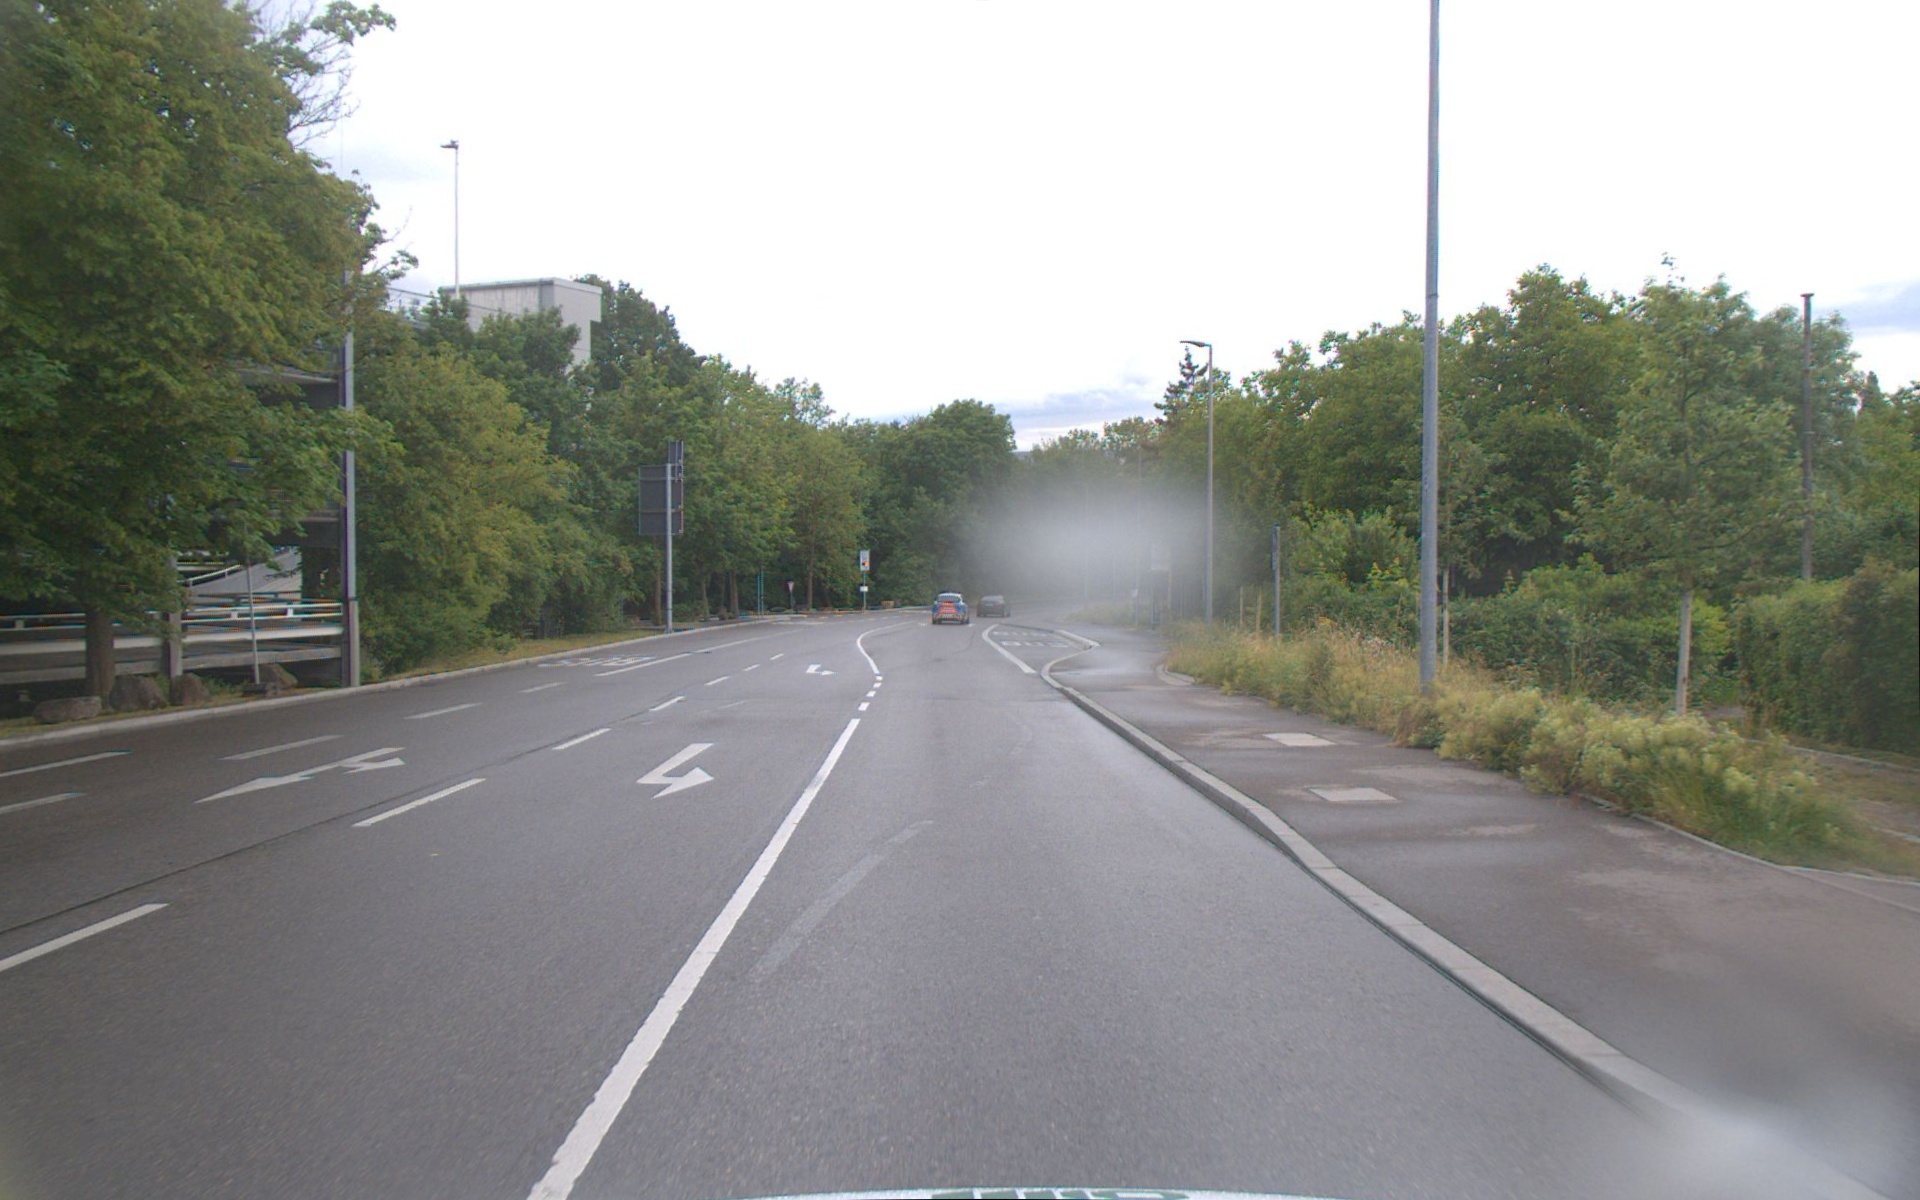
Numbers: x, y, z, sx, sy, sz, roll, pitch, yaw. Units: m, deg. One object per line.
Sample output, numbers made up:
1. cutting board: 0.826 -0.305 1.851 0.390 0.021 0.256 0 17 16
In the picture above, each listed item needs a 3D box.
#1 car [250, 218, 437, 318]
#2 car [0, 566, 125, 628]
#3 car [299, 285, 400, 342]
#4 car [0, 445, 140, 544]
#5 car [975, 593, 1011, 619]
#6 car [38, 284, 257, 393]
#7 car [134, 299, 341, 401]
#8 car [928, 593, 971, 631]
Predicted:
1. car: -14.460 -7.739 38.819 3.910 1.545 1.998 -2 0 27
2. car: -23.763 -0.076 43.218 3.391 1.545 1.586 -1 0 21
3. car: -22.201 -10.394 60.145 3.167 1.545 1.586 -2 0 21
4. car: -17.387 -1.892 30.630 3.910 1.545 1.998 -2 0 27
5. car: 2.134 0.375 105.810 1.886 1.512 3.803 -1 2 8
6. car: -16.276 -5.186 33.148 3.910 1.545 1.998 -2 0 27
7. car: -15.338 -5.250 35.105 3.910 1.545 1.998 -2 0 27
8. car: -0.525 0.599 85.642 1.952 1.718 4.002 -1 2 3
